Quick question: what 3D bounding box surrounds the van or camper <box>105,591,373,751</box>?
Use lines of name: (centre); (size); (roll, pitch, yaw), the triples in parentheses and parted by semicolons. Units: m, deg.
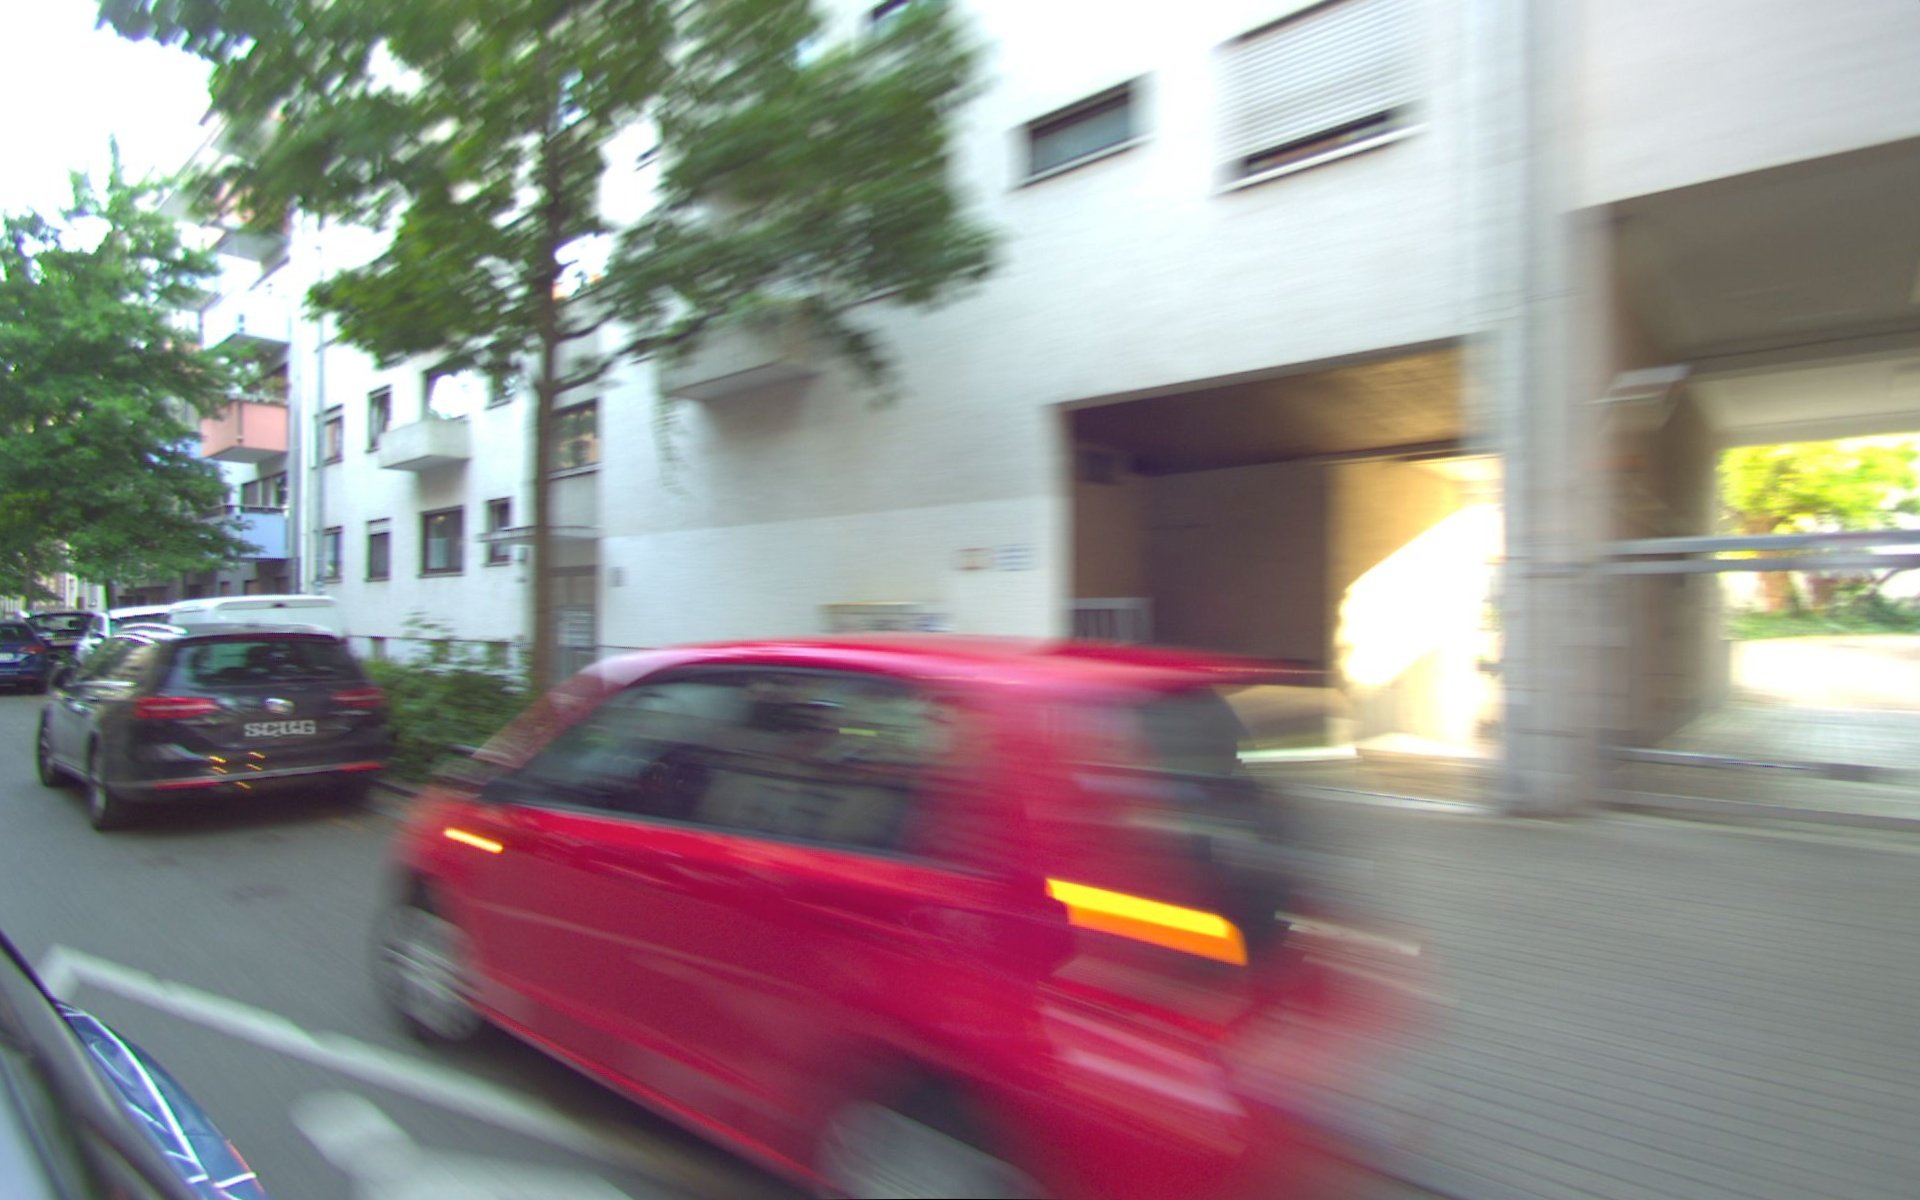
van or camper: (-9.942, 0.853, 13.823); (4.462, 1.773, 1.911); (-1, 1, 40)

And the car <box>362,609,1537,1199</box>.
car: (-0.340, 0.774, 3.212); (3.540, 1.441, 1.613); (-1, -2, 41)

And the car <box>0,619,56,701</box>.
car: (-19.824, 1.150, 20.414); (4.514, 1.529, 1.811); (-1, -1, 41)

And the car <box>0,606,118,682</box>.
car: (-22.635, 1.019, 25.096); (4.920, 1.659, 1.973); (-1, 0, 41)

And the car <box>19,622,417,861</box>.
car: (-6.399, 0.928, 8.505); (4.501, 1.462, 1.827); (-1, -1, 42)

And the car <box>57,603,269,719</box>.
car: (-14.060, 0.979, 17.756); (4.645, 1.685, 2.013); (-1, 1, 41)
